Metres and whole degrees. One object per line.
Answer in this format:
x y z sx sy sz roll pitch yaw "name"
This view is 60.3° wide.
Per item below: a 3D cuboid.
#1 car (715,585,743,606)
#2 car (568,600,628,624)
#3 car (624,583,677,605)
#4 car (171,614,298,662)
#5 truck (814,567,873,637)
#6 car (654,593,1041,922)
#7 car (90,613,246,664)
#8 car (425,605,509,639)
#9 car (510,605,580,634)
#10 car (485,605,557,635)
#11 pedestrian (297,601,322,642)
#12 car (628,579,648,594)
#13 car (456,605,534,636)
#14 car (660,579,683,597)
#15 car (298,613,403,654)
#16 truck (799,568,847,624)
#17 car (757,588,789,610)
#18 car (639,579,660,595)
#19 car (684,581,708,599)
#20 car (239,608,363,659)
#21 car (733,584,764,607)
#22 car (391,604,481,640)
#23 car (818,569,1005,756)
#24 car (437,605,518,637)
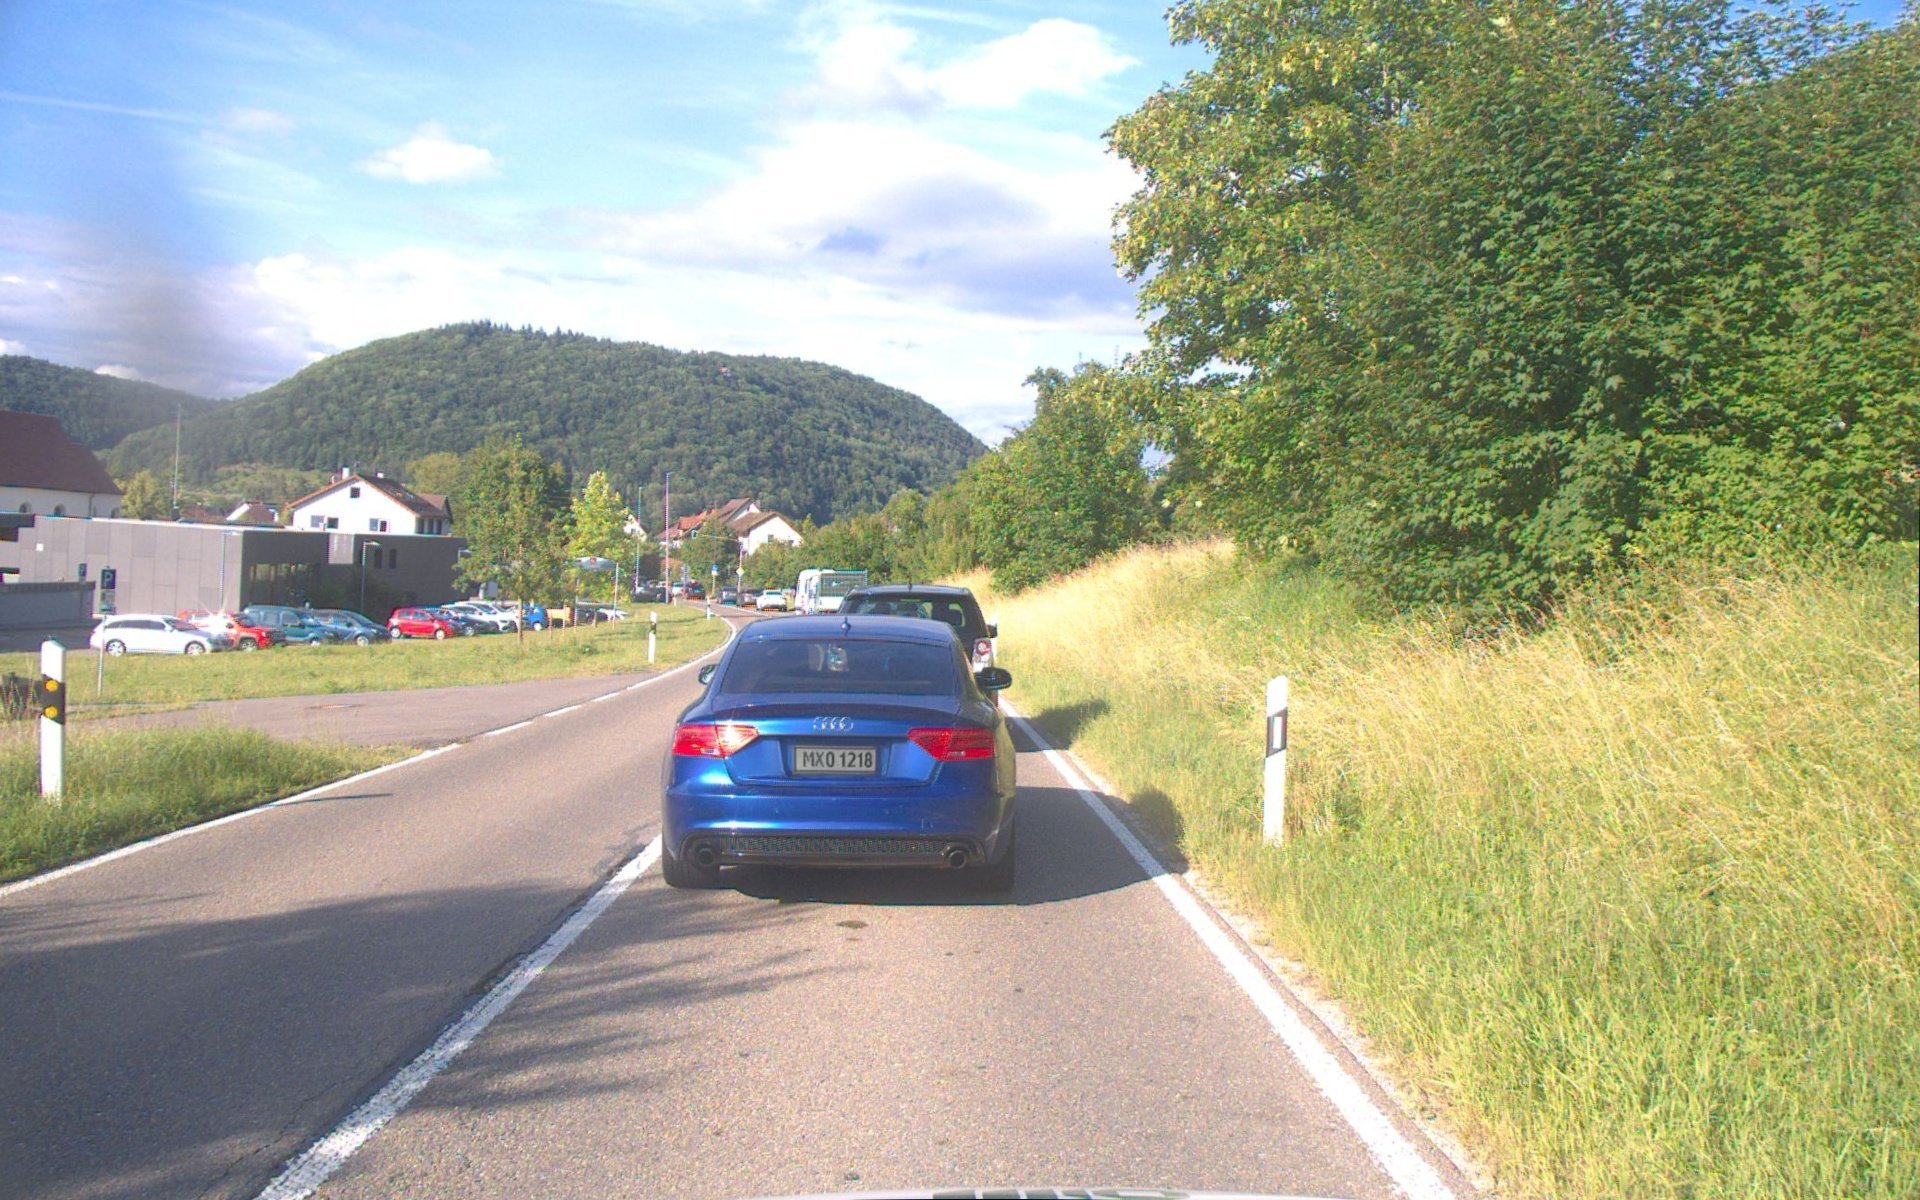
-19.660 -0.392 140.628 1.815 1.742 3.984 1 0 -15 "car"
-25.823 0.864 118.155 3.907 1.606 1.751 1 0 -3 "car"
-25.530 -0.533 136.407 3.910 1.742 1.849 1 0 27 "car"
-27.593 1.422 63.001 3.907 1.741 1.999 1 0 -3 "car"
-4.656 0.092 65.553 2.186 2.615 6.097 1 0 -5 "truck"
-0.499 0.720 9.370 1.718 1.455 3.846 1 0 0 "car"
-28.656 1.389 59.977 4.637 1.741 1.999 1 0 -3 "car"
-26.244 1.151 88.181 3.907 1.741 1.999 1 0 -3 "car"
-25.971 1.237 103.586 3.907 1.741 1.999 1 0 -3 "car"
-26.746 1.210 100.900 3.907 1.741 1.999 1 0 -3 "car"
-32.555 1.077 82.769 0.808 2.049 0.973 1 -1 -1 "pedestrian"
-37.932 -1.545 195.004 1.817 1.742 3.979 1 0 -19 "car"
-26.717 1.180 95.114 3.907 1.741 1.999 1 0 -3 "car"
-29.881 -1.235 171.389 1.817 1.742 3.979 1 0 -18 "car"
-26.978 1.486 73.324 3.907 1.741 1.999 1 0 -3 "car"
-6.802 -0.158 81.581 2.187 2.615 6.699 1 0 -6 "truck"
-12.862 -0.057 113.706 1.813 1.508 3.988 1 0 -12 "car"
-35.199 -1.480 187.398 1.817 1.742 3.980 1 0 -18 "car"
-25.647 -0.955 160.889 1.816 1.742 3.982 1 0 -16 "car"
-27.371 1.387 68.816 4.318 2.043 1.999 1 0 -3 "car"
-16.287 -0.362 127.465 1.815 1.742 3.984 1 0 -15 "car"
-26.468 1.124 83.629 3.907 1.741 1.999 1 0 -3 "car"
-0.450 0.594 17.357 1.718 1.710 3.846 1 0 0 "car"
-26.767 1.162 91.829 3.907 1.741 1.999 1 0 -3 "car"
